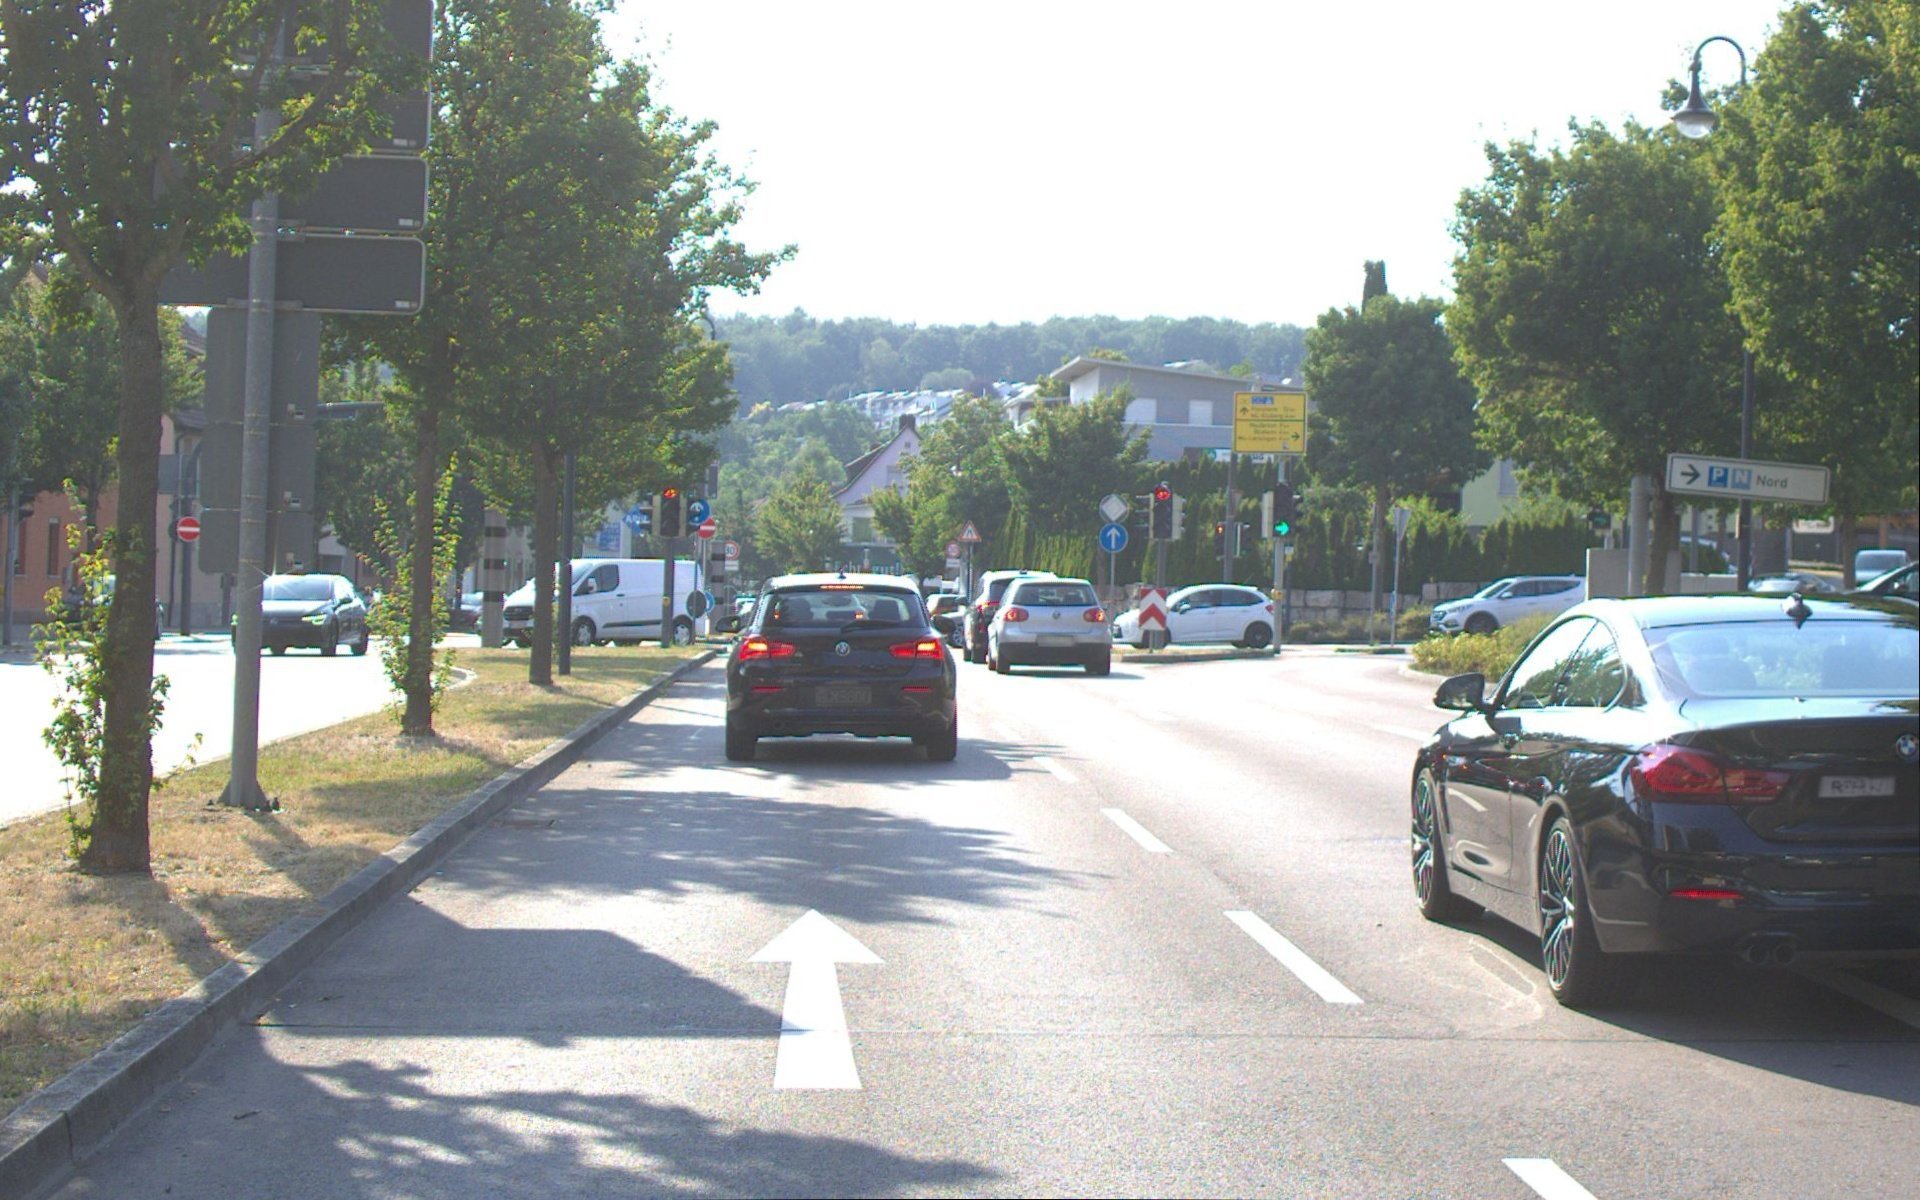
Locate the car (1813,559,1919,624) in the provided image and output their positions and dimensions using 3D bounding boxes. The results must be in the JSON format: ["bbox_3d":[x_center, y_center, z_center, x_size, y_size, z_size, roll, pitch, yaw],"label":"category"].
[{"bbox_3d":[27.002,-0.249,98.397,4.630,1.823,2.000,0,1,-5],"label":"car"}]

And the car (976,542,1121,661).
[{"bbox_3d":[1.326,-0.012,53.486,1.925,1.763,4.455,0,1,-3],"label":"car"}]

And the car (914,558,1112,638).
[{"bbox_3d":[1.326,-0.061,87.303,4.947,1.922,2.146,1,1,0],"label":"car"}]

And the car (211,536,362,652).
[{"bbox_3d":[-12.141,-0.151,62.305,2.139,2.002,5.126,1,1,-5],"label":"car"}]

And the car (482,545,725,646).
[{"bbox_3d":[-7.759,-0.121,75.291,2.145,2.122,5.112,2,1,43],"label":"car"}]

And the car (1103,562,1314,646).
[{"bbox_3d":[5.886,0.086,81.691,4.533,1.922,2.147,1,1,-13],"label":"car"}]

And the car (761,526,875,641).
[{"bbox_3d":[-2.289,-0.281,55.174,1.756,1.763,3.971,0,1,-3],"label":"car"}]

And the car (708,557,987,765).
[{"bbox_3d":[-0.813,0.417,27.530,1.721,1.485,4.352,1,1,5],"label":"car"}]

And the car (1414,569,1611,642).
[{"bbox_3d":[14.362,0.141,89.418,4.629,1.823,2.001,0,1,-12],"label":"car"}]

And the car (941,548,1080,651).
[{"bbox_3d":[0.856,-0.047,61.842,2.216,1.763,4.455,0,1,-3],"label":"car"}]

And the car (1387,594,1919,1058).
[{"bbox_3d":[2.877,0.684,12.569,1.920,1.359,4.353,0,1,-2],"label":"car"}]
